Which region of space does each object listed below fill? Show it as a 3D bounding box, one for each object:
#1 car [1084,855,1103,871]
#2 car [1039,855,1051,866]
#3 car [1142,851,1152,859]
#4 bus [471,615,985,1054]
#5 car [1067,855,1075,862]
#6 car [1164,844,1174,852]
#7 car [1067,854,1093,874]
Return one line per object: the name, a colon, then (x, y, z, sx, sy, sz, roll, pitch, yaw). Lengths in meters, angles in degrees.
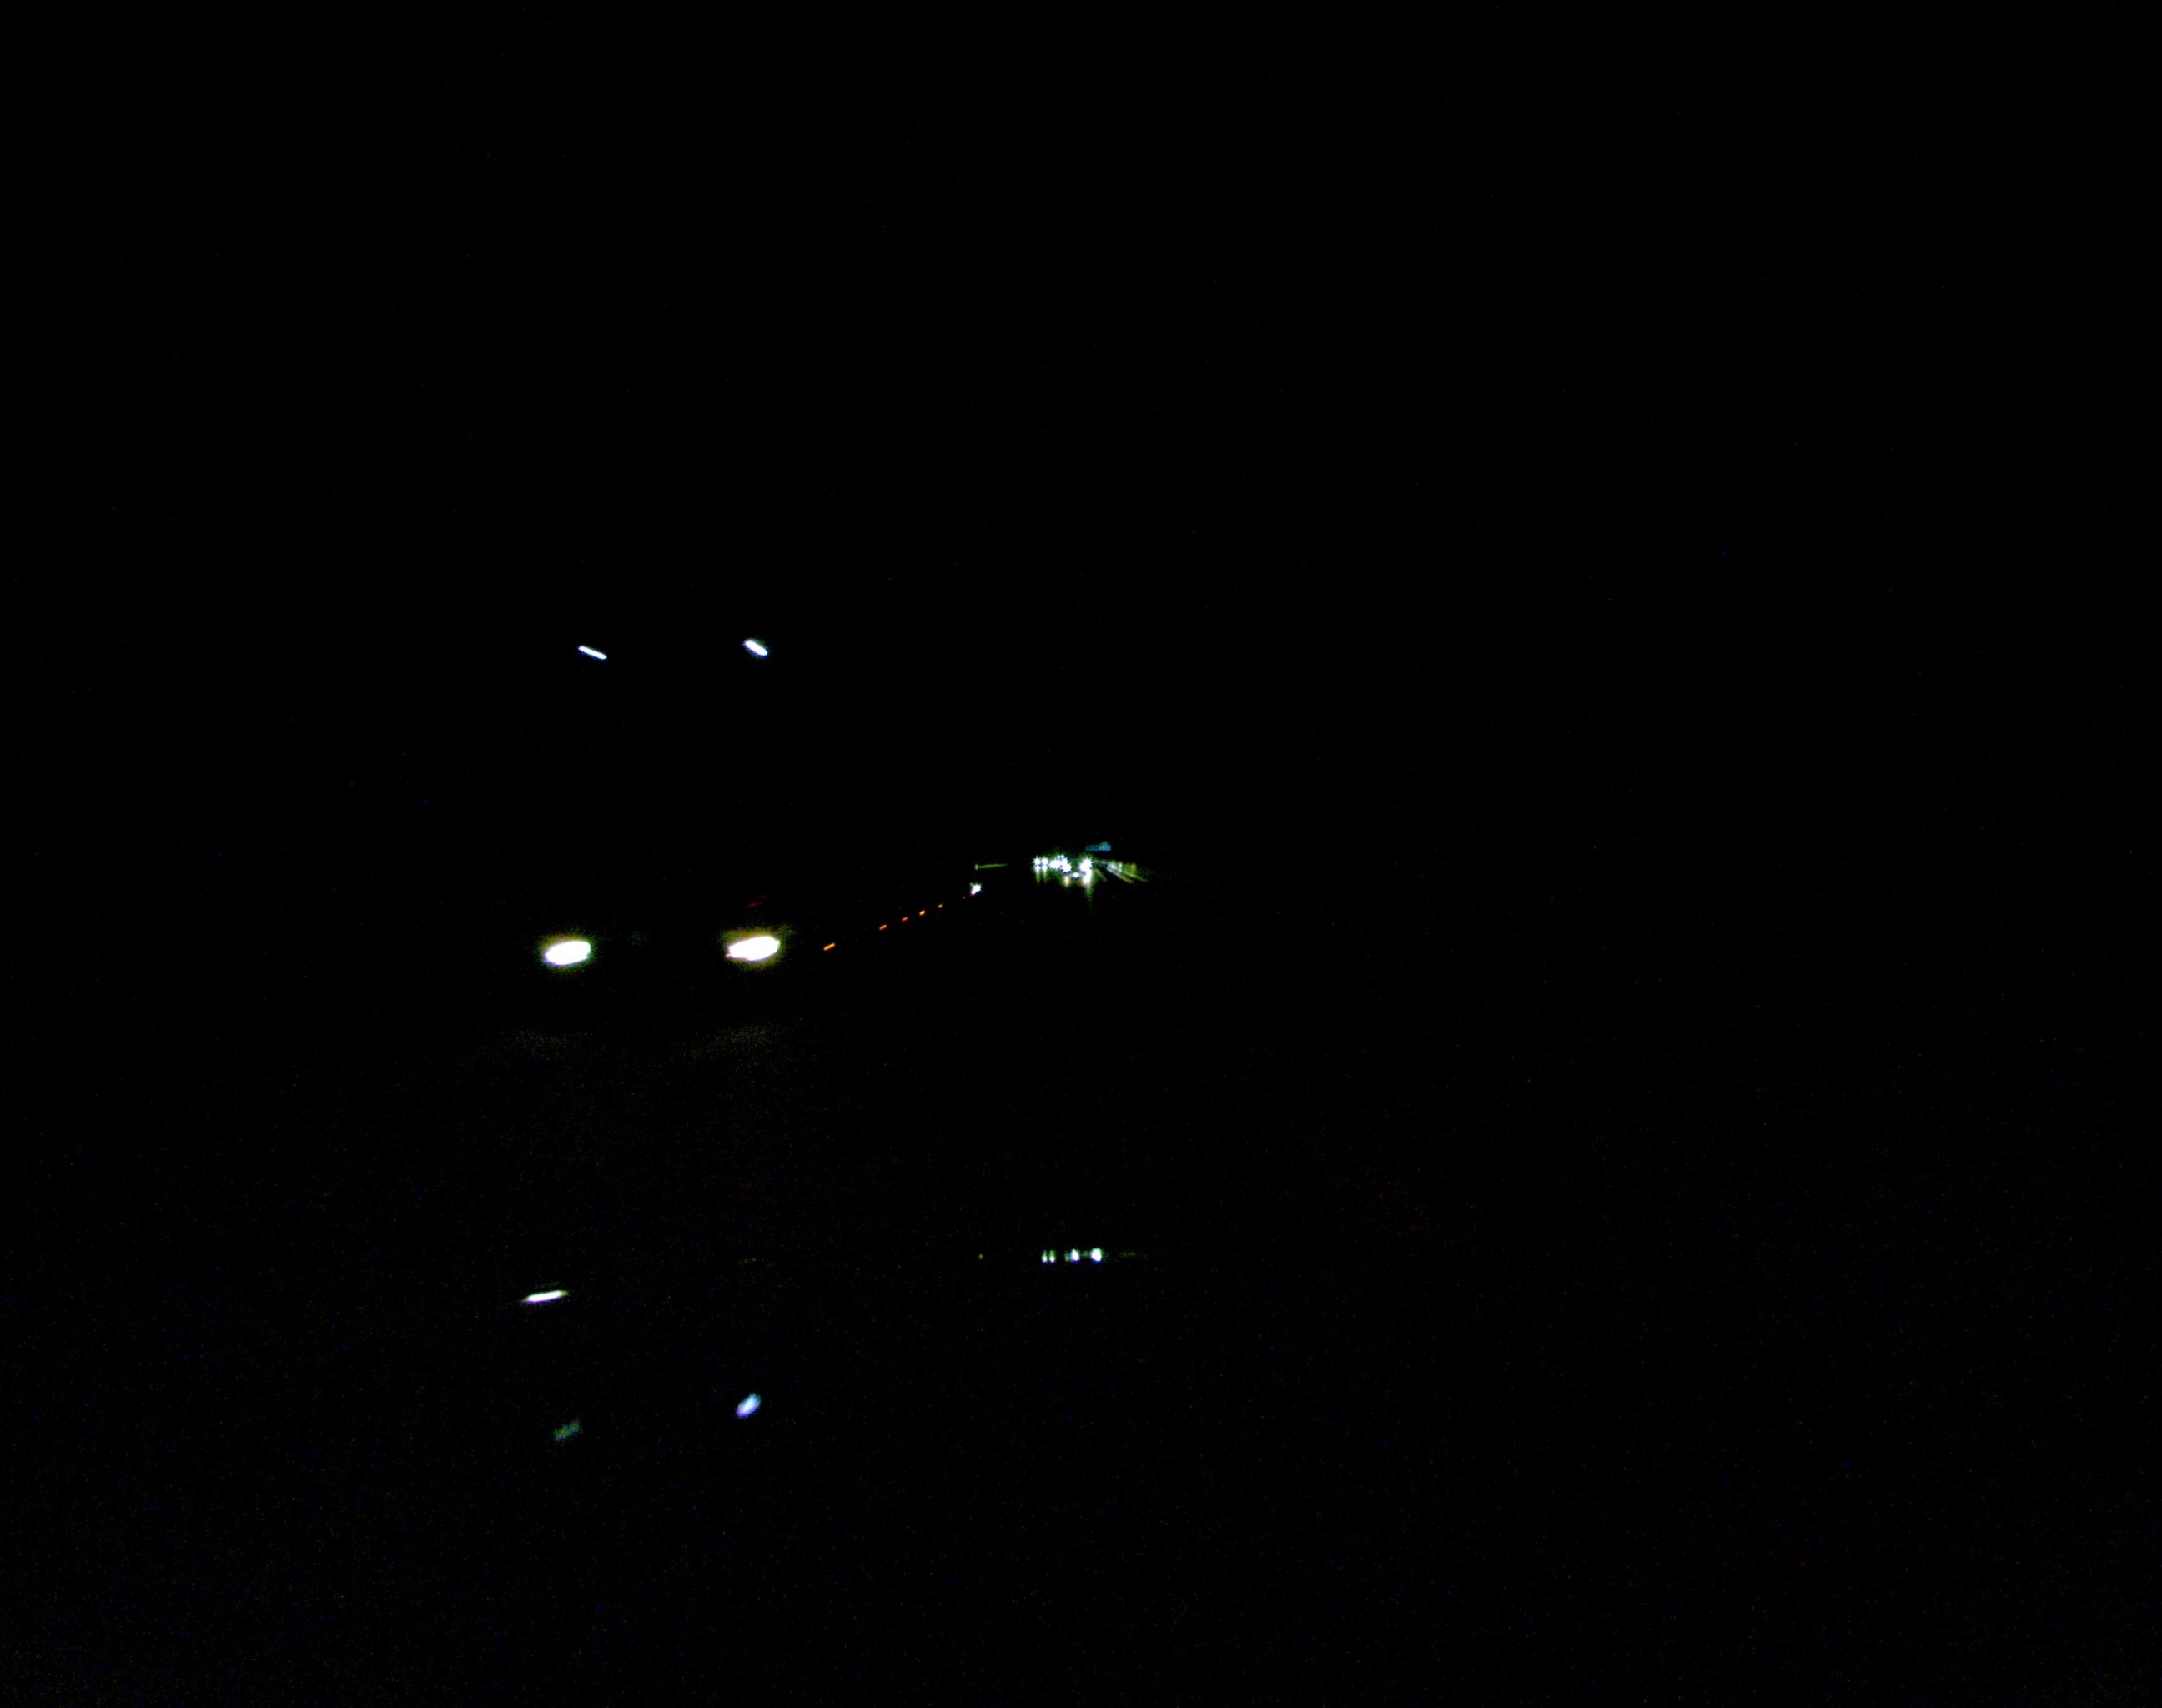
car: (1.462, 1.061, 87.151, 2.012, 1.652, 4.001, -6, -1, 1)
car: (-6.907, 1.251, 145.549, 1.999, 1.707, 5.168, -6, -1, -2)
car: (16.657, 0.221, 191.834, 1.998, 1.626, 4.749, -6, -1, -1)
bus: (-4.230, -0.228, 14.473, 2.659, 3.971, 14.700, -3, 0, 0)
car: (-2.690, 1.195, 205.690, 1.939, 1.608, 4.000, -6, -1, -1)
car: (22.080, -1.531, 190.998, 1.999, 1.914, 3.999, -2, 0, -1)
car: (-0.152, 0.845, 61.117, 1.840, 1.392, 5.069, -6, -1, -2)
